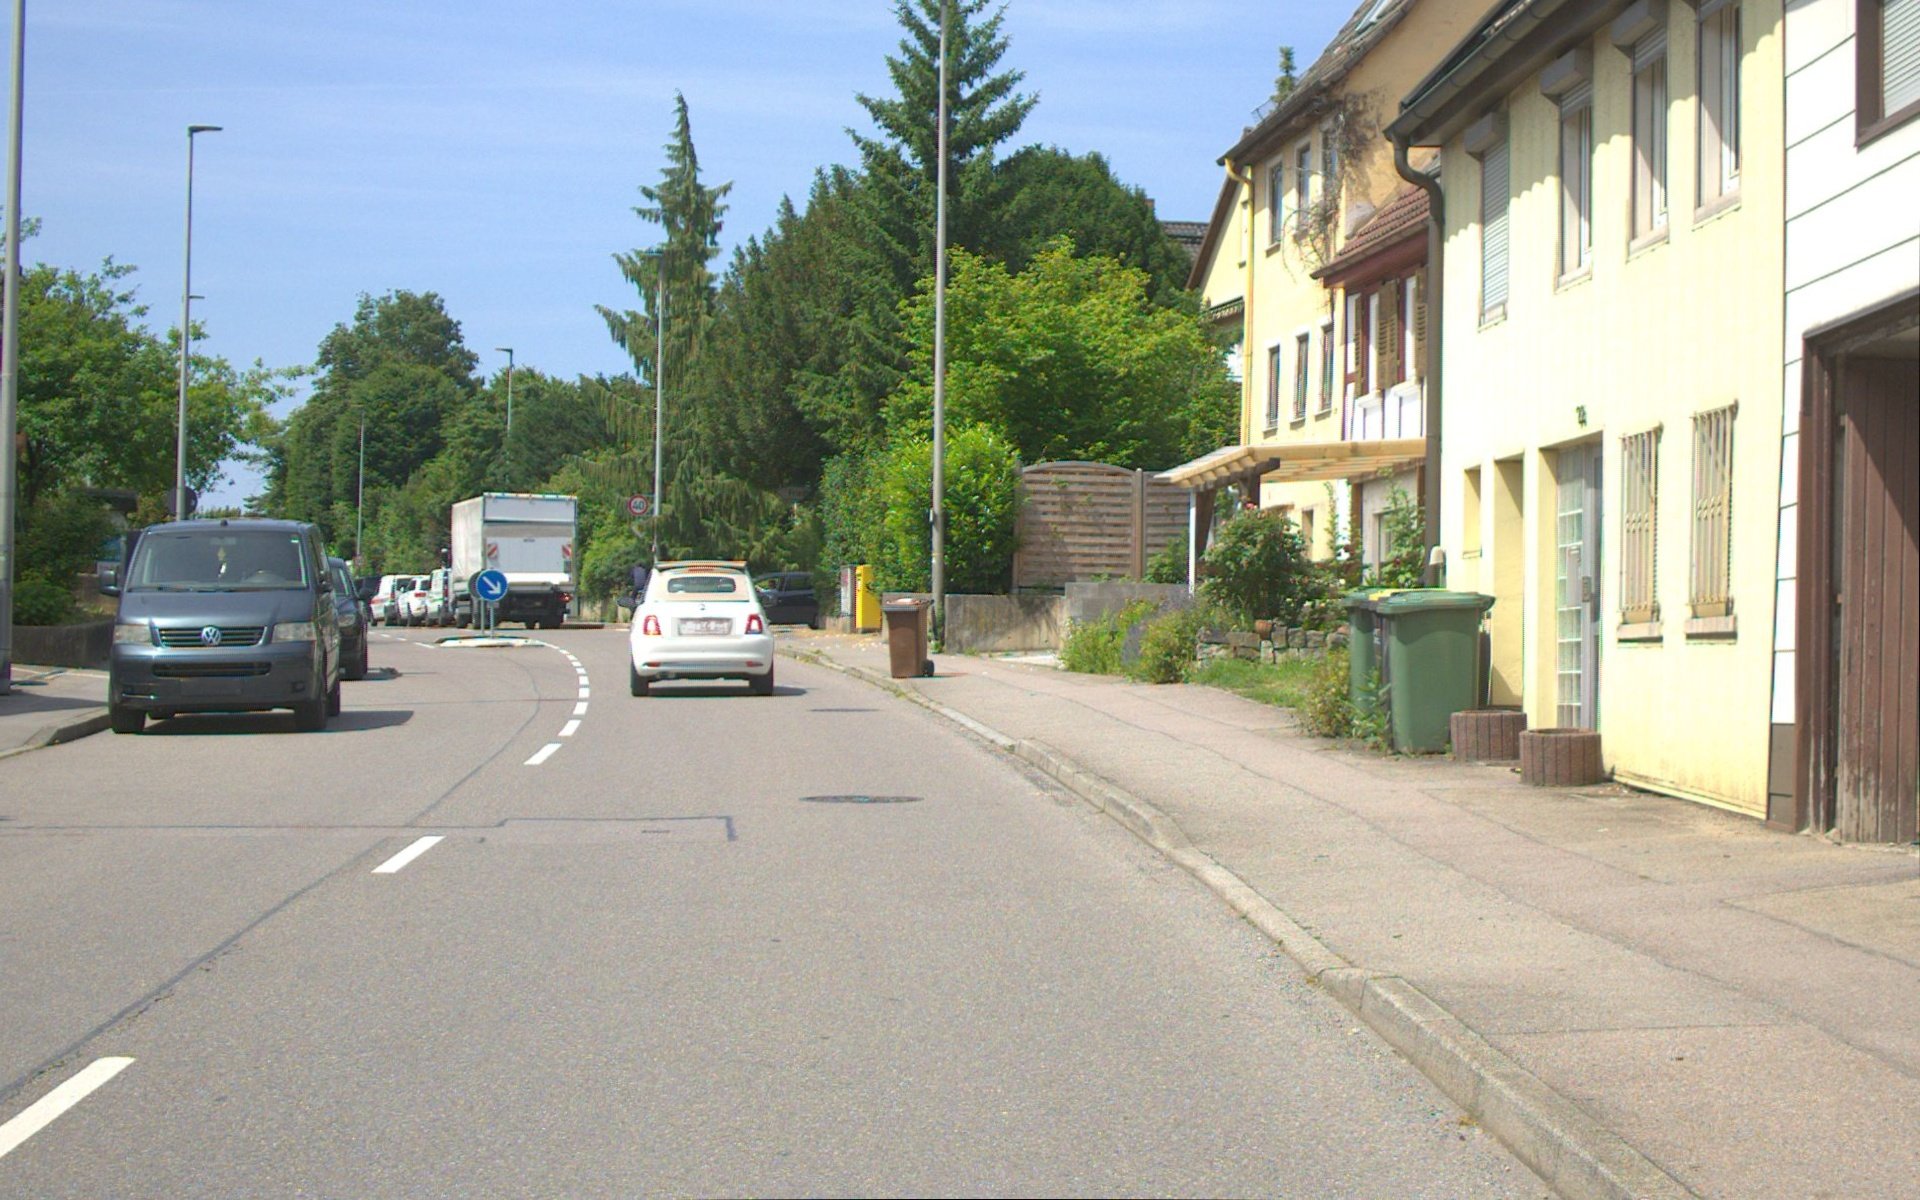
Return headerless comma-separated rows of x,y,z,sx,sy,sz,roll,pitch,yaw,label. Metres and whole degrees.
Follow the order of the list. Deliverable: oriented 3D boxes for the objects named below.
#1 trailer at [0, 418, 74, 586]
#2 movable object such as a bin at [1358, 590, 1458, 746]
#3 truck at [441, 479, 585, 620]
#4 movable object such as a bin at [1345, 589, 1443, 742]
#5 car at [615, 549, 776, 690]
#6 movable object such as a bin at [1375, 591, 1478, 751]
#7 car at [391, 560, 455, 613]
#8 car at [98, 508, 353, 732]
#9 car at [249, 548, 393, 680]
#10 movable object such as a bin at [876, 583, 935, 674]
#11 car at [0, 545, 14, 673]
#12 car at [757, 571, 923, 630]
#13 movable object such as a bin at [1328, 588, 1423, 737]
-16.997,-1.704,61.505,1.711,2.839,6.176,1,0,-10,trailer
3.061,0.459,23.529,0.546,1.030,0.551,-2,1,-3,movable object such as a bin
-12.586,-1.345,96.232,3.067,3.761,7.870,0,0,-14,truck
3.038,0.453,24.100,0.546,1.030,0.551,-2,1,-3,movable object such as a bin
-3.133,0.207,40.133,1.724,1.555,4.001,0,0,-6,car
3.111,0.469,22.960,0.546,1.030,0.551,-2,1,-3,movable object such as a bin
-18.217,-0.482,116.456,1.534,1.664,4.001,2,1,-17,car
-6.846,0.157,32.504,1.890,1.931,4.987,-1,0,-7,car
-8.350,0.148,45.169,1.768,1.630,4.289,0,1,-9,car
-0.646,0.335,40.700,0.494,1.030,0.548,-3,1,17,movable object such as a bin
-12.539,-0.057,37.213,4.227,1.401,1.822,5,0,-11,car
-2.999,0.014,85.659,3.932,1.453,1.659,0,0,-11,car
2.982,0.441,24.692,0.546,1.030,0.551,-2,1,-3,movable object such as a bin
